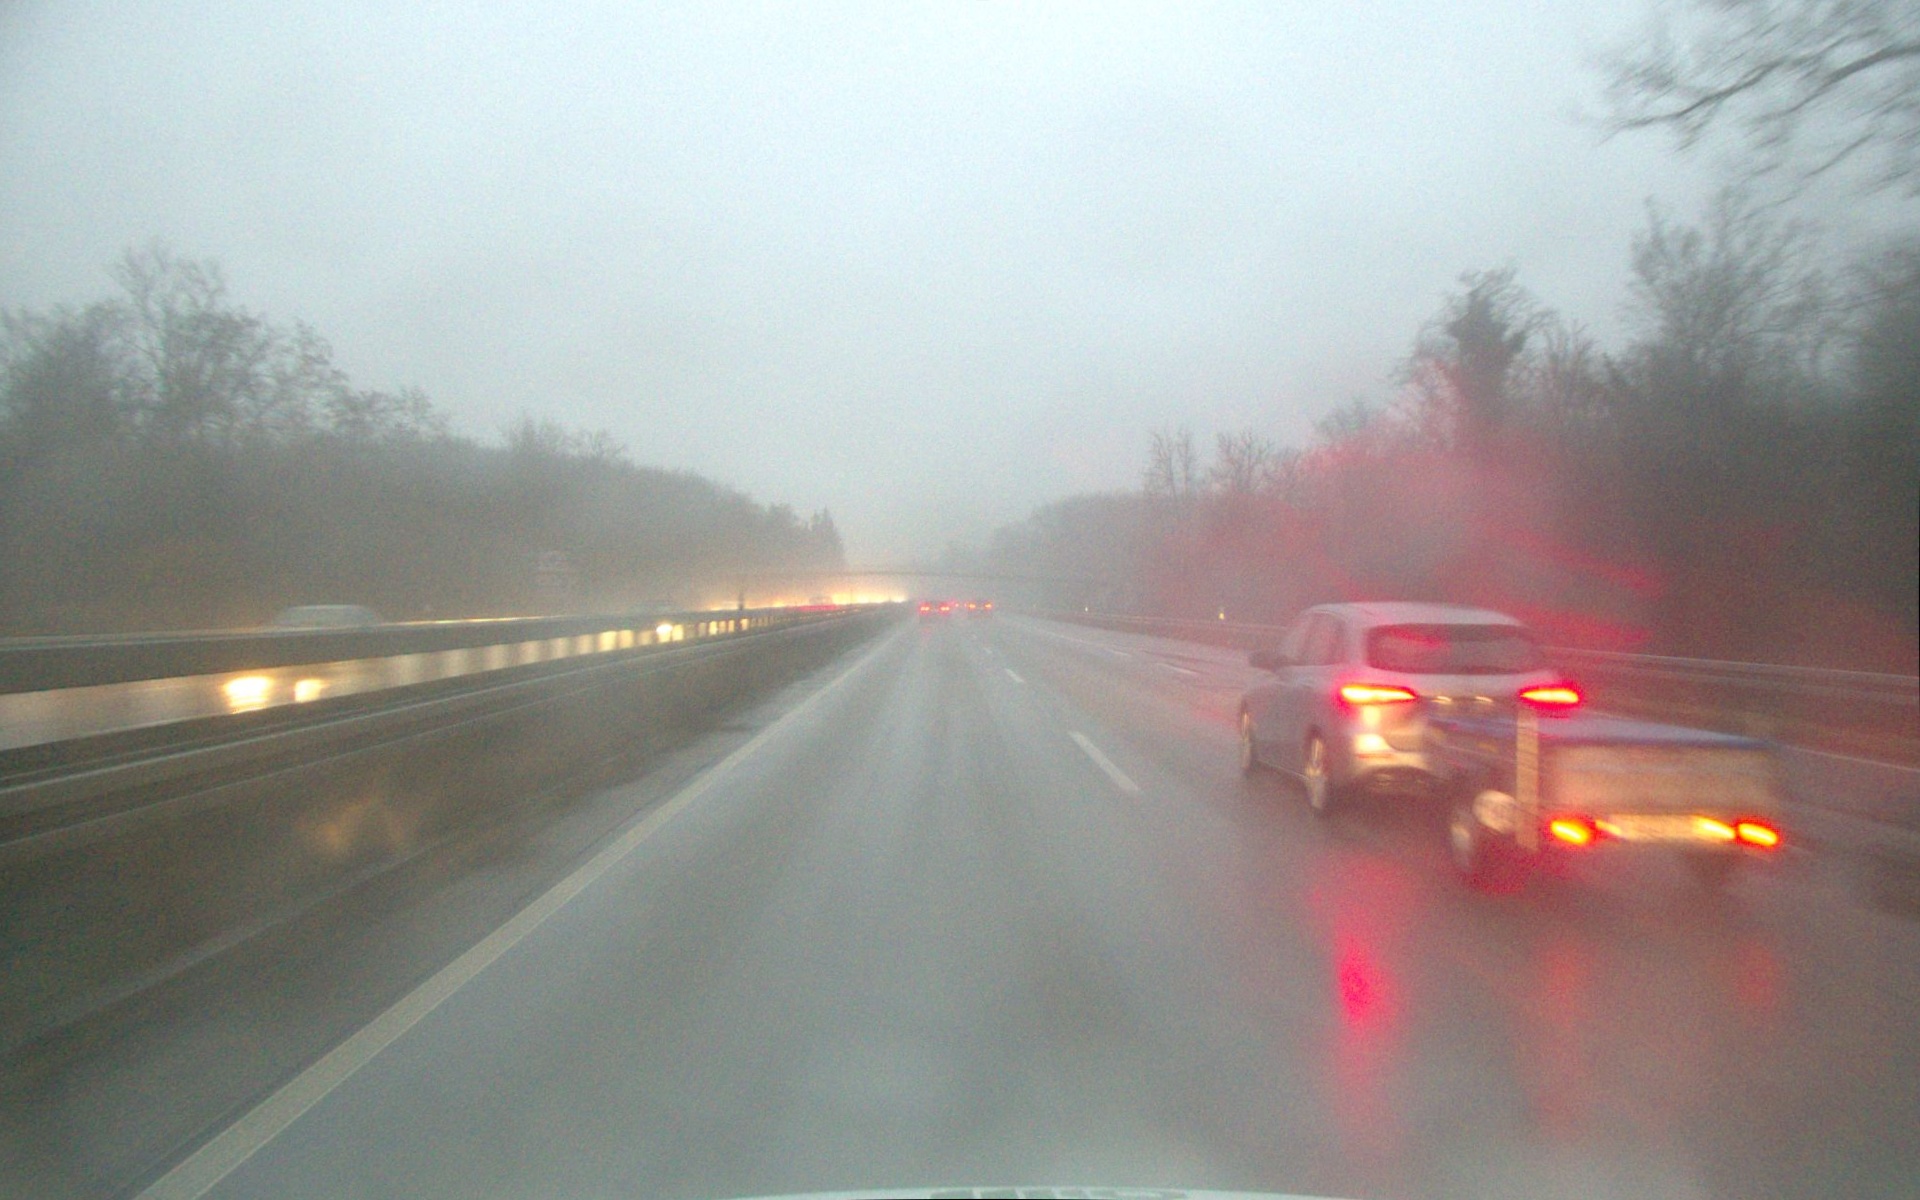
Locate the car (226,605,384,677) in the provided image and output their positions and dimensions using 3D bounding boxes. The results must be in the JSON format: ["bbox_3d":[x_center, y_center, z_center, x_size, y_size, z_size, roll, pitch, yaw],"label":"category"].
[{"bbox_3d":[-13.549,0.817,34.463,1.669,1.375,4.156,0,0,-1],"label":"car"}]

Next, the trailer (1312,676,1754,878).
[{"bbox_3d":[3.401,1.017,10.377,1.712,0.941,2.950,0,0,-1],"label":"trailer"}]

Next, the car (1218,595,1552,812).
[{"bbox_3d":[3.353,0.745,13.780,1.750,1.543,3.810,0,0,-1],"label":"car"}]
